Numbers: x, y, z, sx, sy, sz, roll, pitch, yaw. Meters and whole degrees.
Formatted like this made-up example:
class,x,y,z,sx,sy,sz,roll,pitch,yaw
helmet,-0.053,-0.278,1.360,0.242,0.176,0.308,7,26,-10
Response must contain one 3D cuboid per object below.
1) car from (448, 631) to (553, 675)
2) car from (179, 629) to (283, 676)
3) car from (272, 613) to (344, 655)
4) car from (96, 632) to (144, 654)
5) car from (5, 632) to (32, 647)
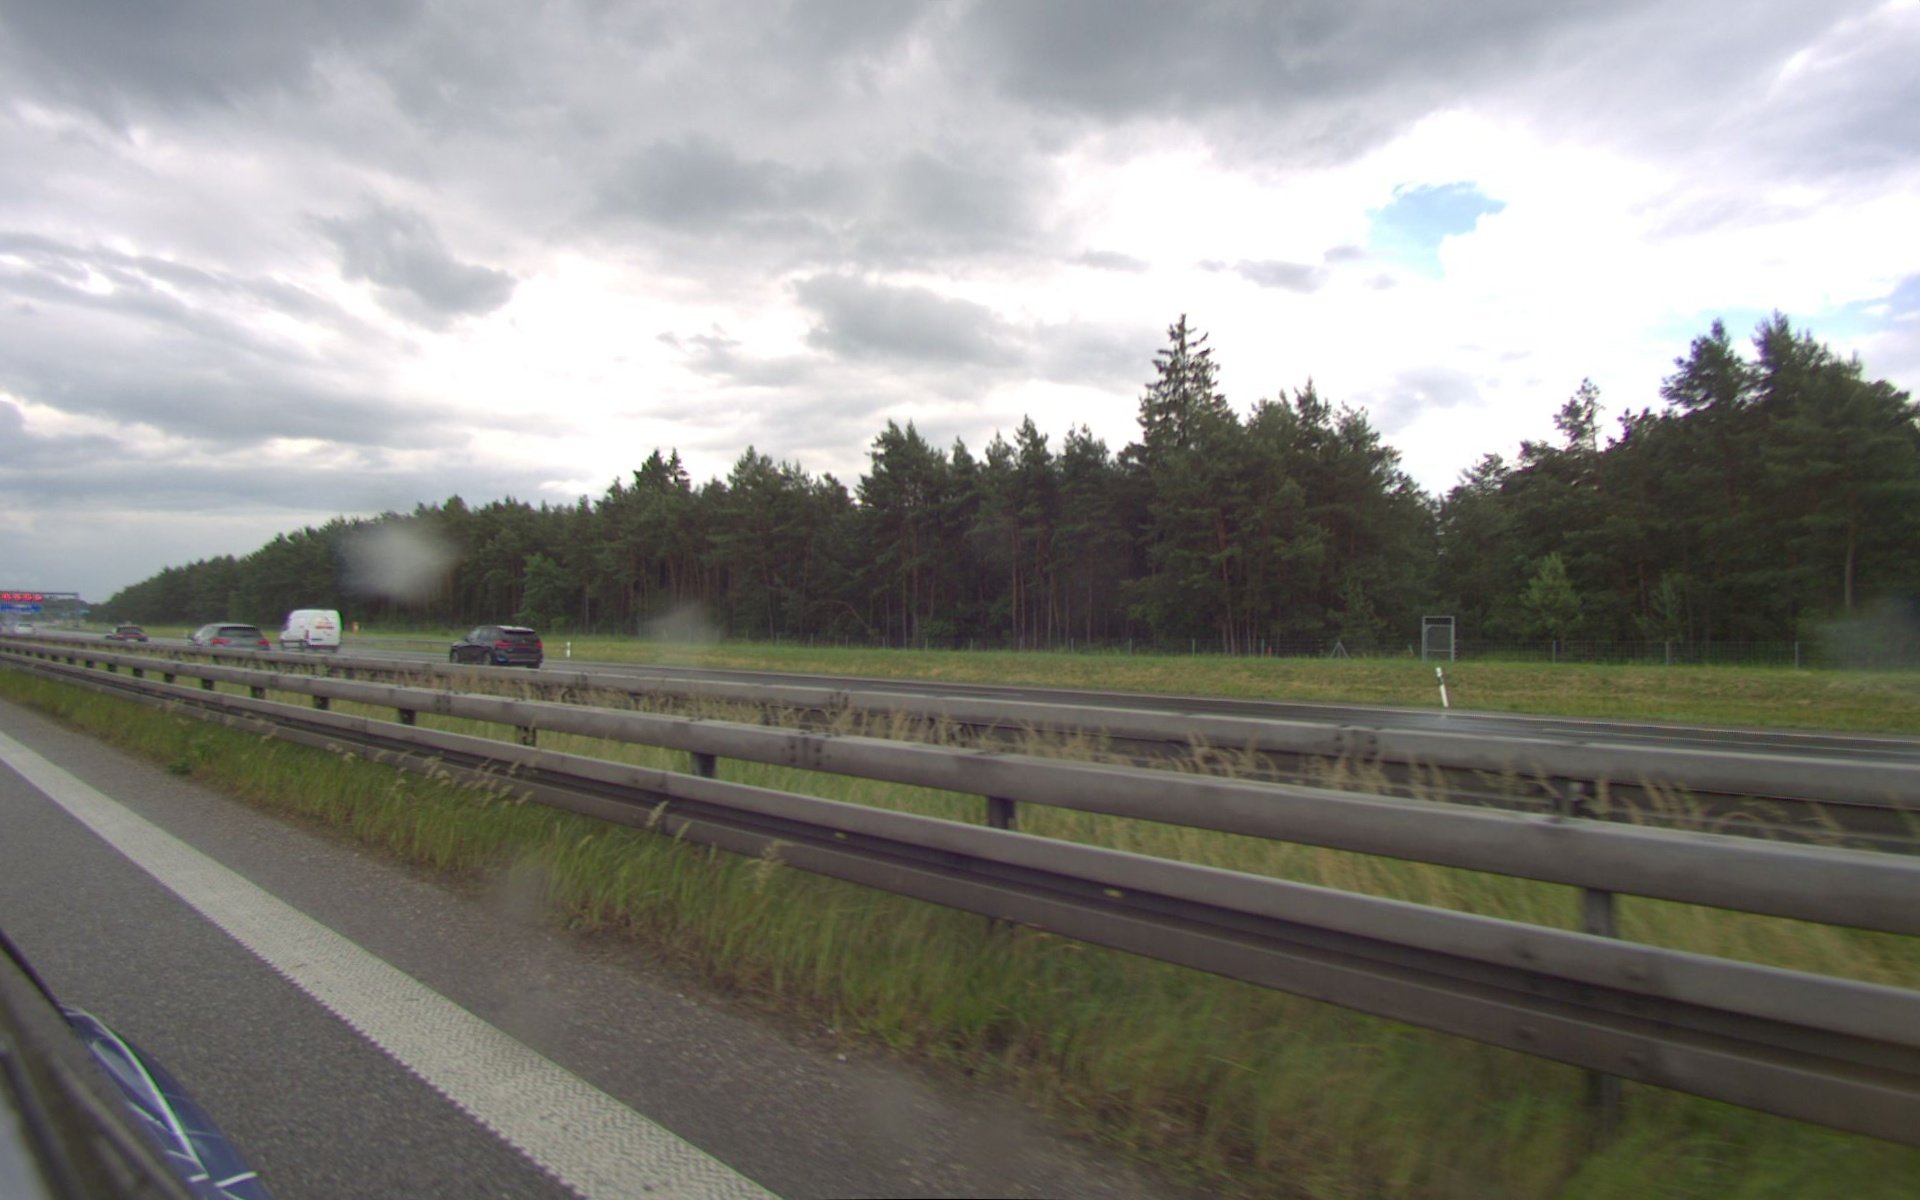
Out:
class,x,y,z,sx,sy,sz,roll,pitch,yaw
car,-16.527,1.866,36.332,3.997,1.483,1.855,-1,-3,40
car,-24.210,1.684,33.564,3.997,1.442,1.855,-1,-2,40
car,-41.374,2.135,64.161,6.581,2.530,2.076,-2,-4,42
car,-54.403,2.789,65.548,4.666,1.335,1.679,-2,-3,42
car,-99.841,4.168,107.334,3.999,1.499,1.680,-2,-3,42
